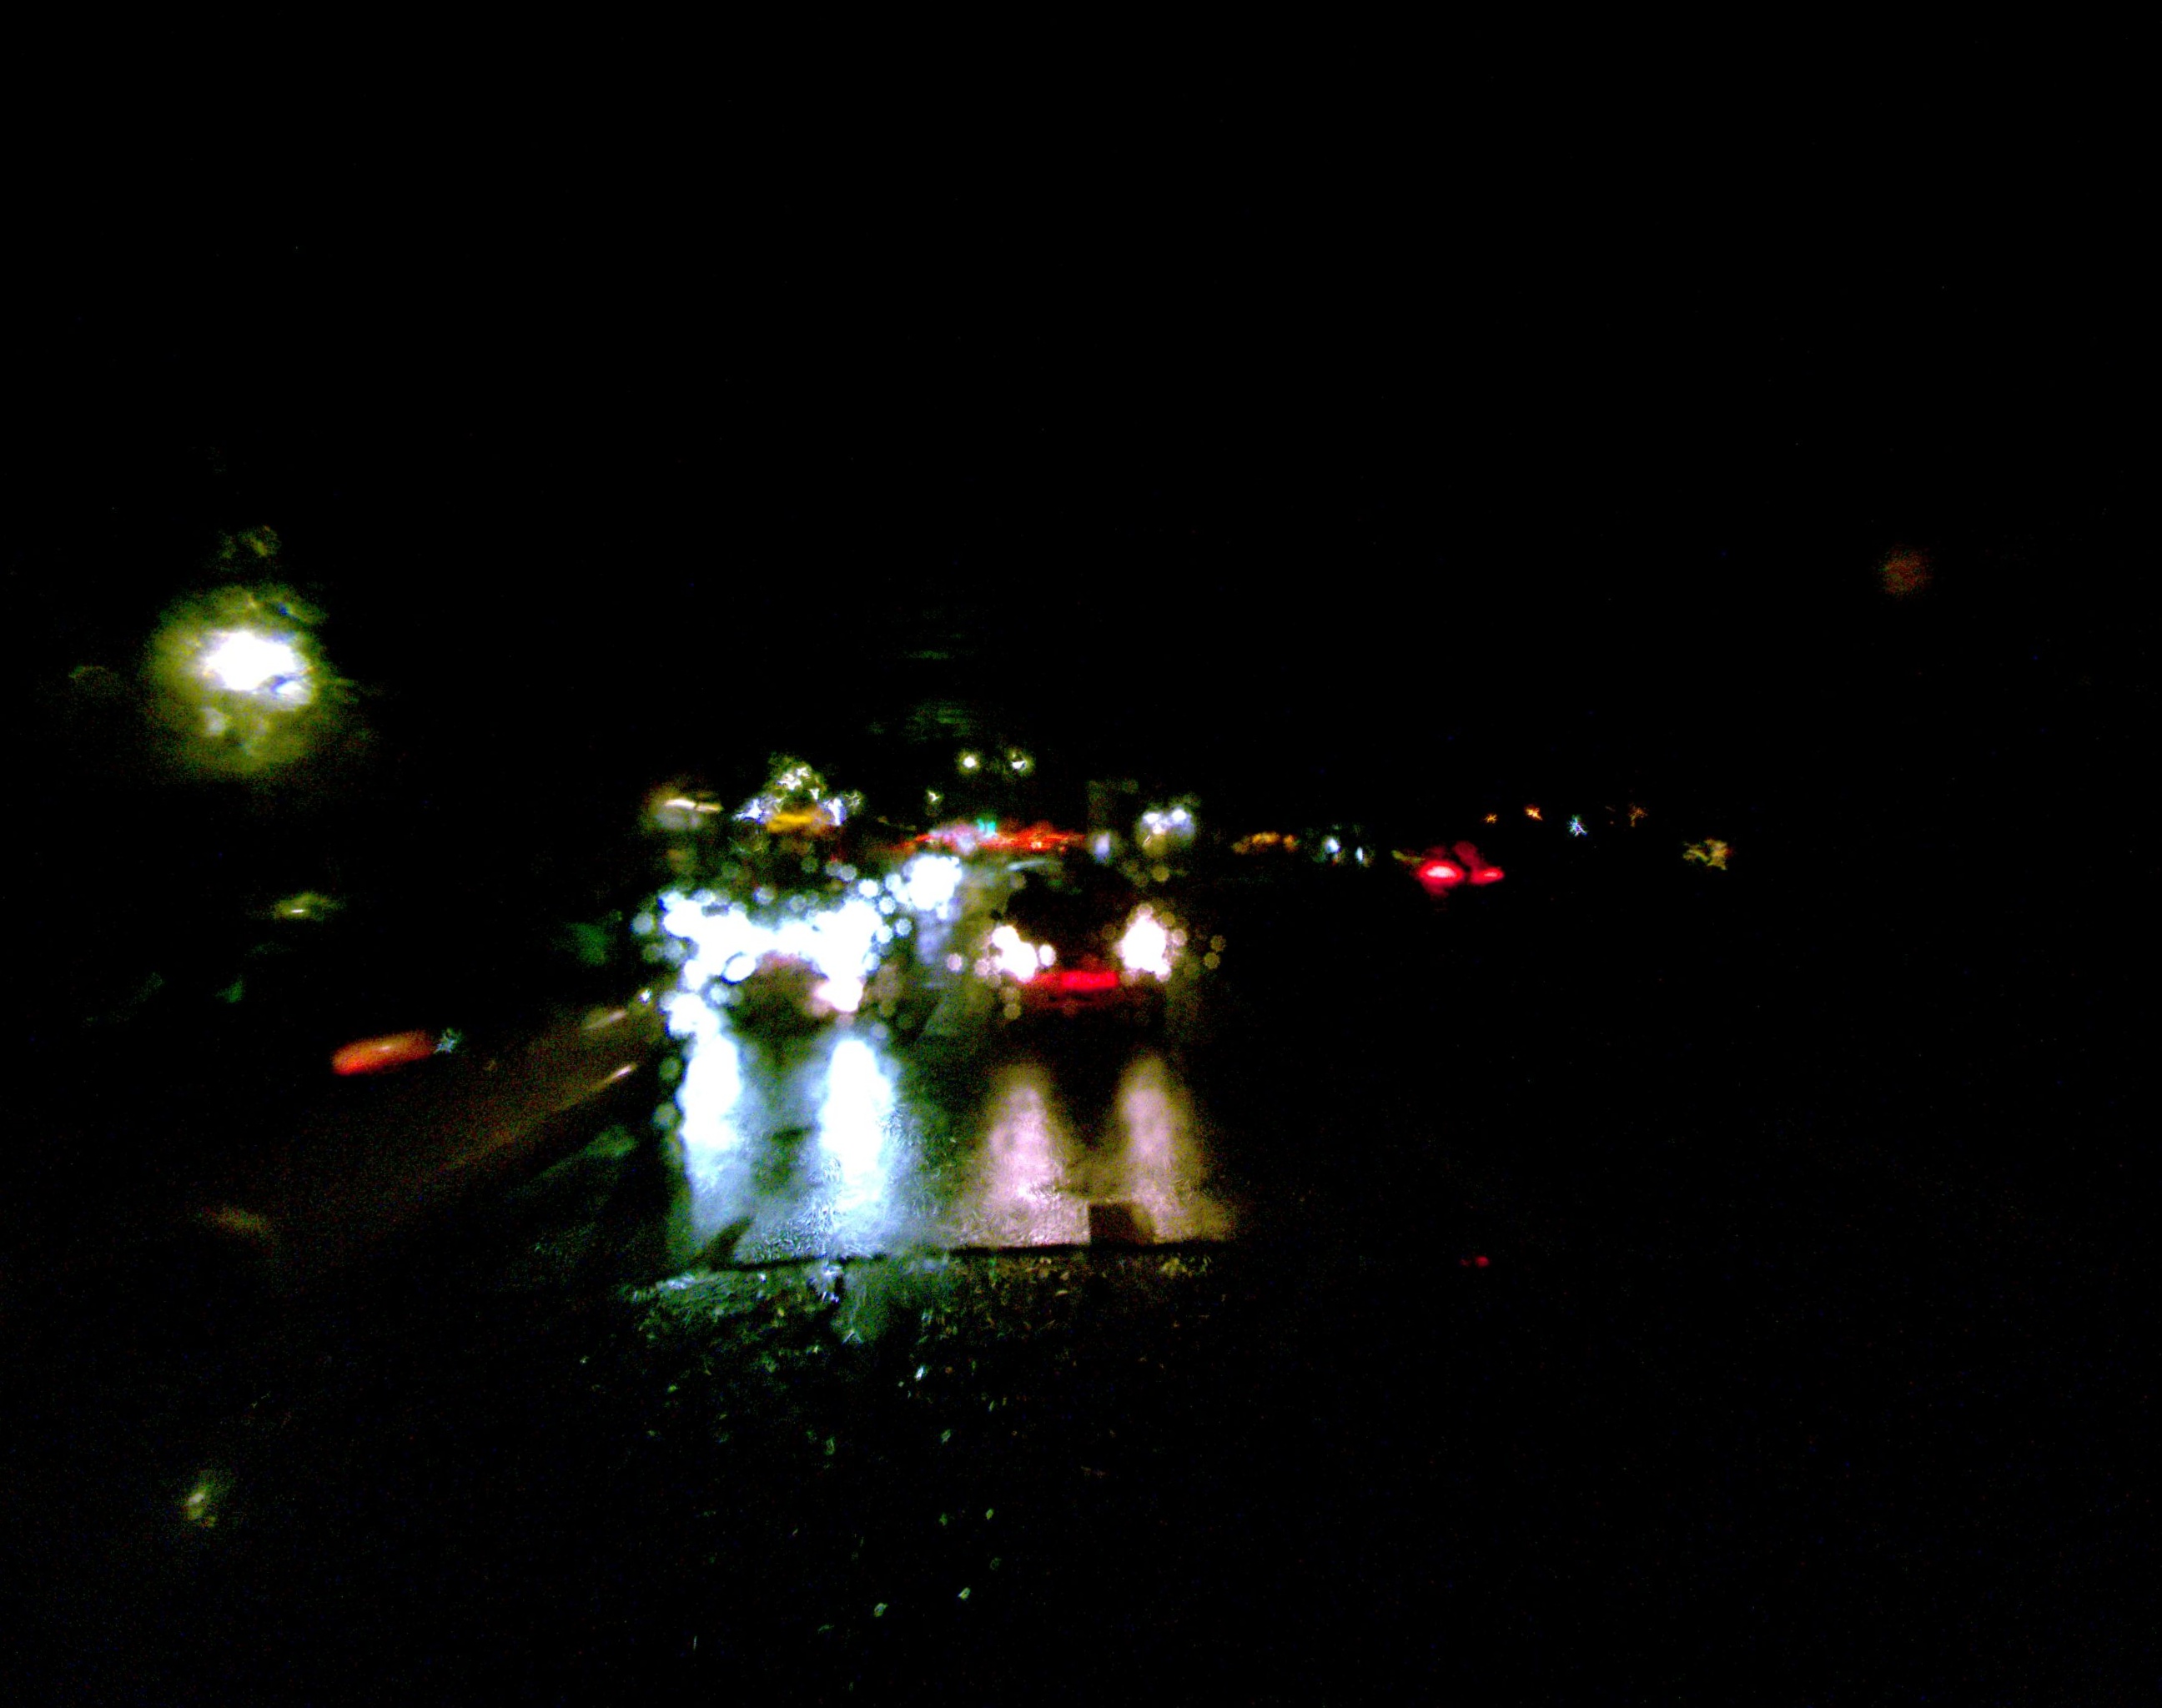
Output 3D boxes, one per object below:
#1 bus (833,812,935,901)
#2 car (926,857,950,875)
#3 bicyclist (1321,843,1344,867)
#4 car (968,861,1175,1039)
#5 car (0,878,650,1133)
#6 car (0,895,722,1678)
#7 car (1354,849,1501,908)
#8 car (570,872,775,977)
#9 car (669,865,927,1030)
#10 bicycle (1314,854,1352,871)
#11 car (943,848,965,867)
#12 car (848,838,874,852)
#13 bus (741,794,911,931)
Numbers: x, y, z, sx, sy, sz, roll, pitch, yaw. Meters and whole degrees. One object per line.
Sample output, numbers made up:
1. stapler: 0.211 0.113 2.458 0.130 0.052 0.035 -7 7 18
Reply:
1. bus: -8.250 0.022 33.064 2.742 3.219 9.693 -2 1 -6
2. car: -11.808 0.969 62.910 1.699 1.455 3.970 0 1 -7
3. bicyclist: 14.723 0.056 44.479 0.630 1.427 1.185 -1 1 -32
4. car: -0.097 0.840 8.464 1.755 1.438 3.973 0 1 0
5. car: -6.447 1.085 7.445 1.724 1.478 4.786 -1 1 0
6. car: -3.166 1.025 2.774 1.724 1.438 4.161 -1 1 0
7. car: 9.714 0.617 21.755 1.830 1.455 4.422 -2 1 -6
8. car: -7.149 1.130 13.839 1.725 1.478 4.160 0 1 -4
9. car: -3.327 0.992 9.899 1.724 1.478 4.161 -4 1 0
10. bicycle: 14.721 0.486 44.493 0.630 0.899 2.208 -1 1 -32
11. car: -12.120 0.309 72.472 1.725 1.695 3.968 0 1 -14
12. car: -23.744 -0.947 81.942 1.712 1.382 3.990 -2 1 -32
13. bus: -7.308 0.141 23.416 2.742 3.258 9.693 -2 1 -6
